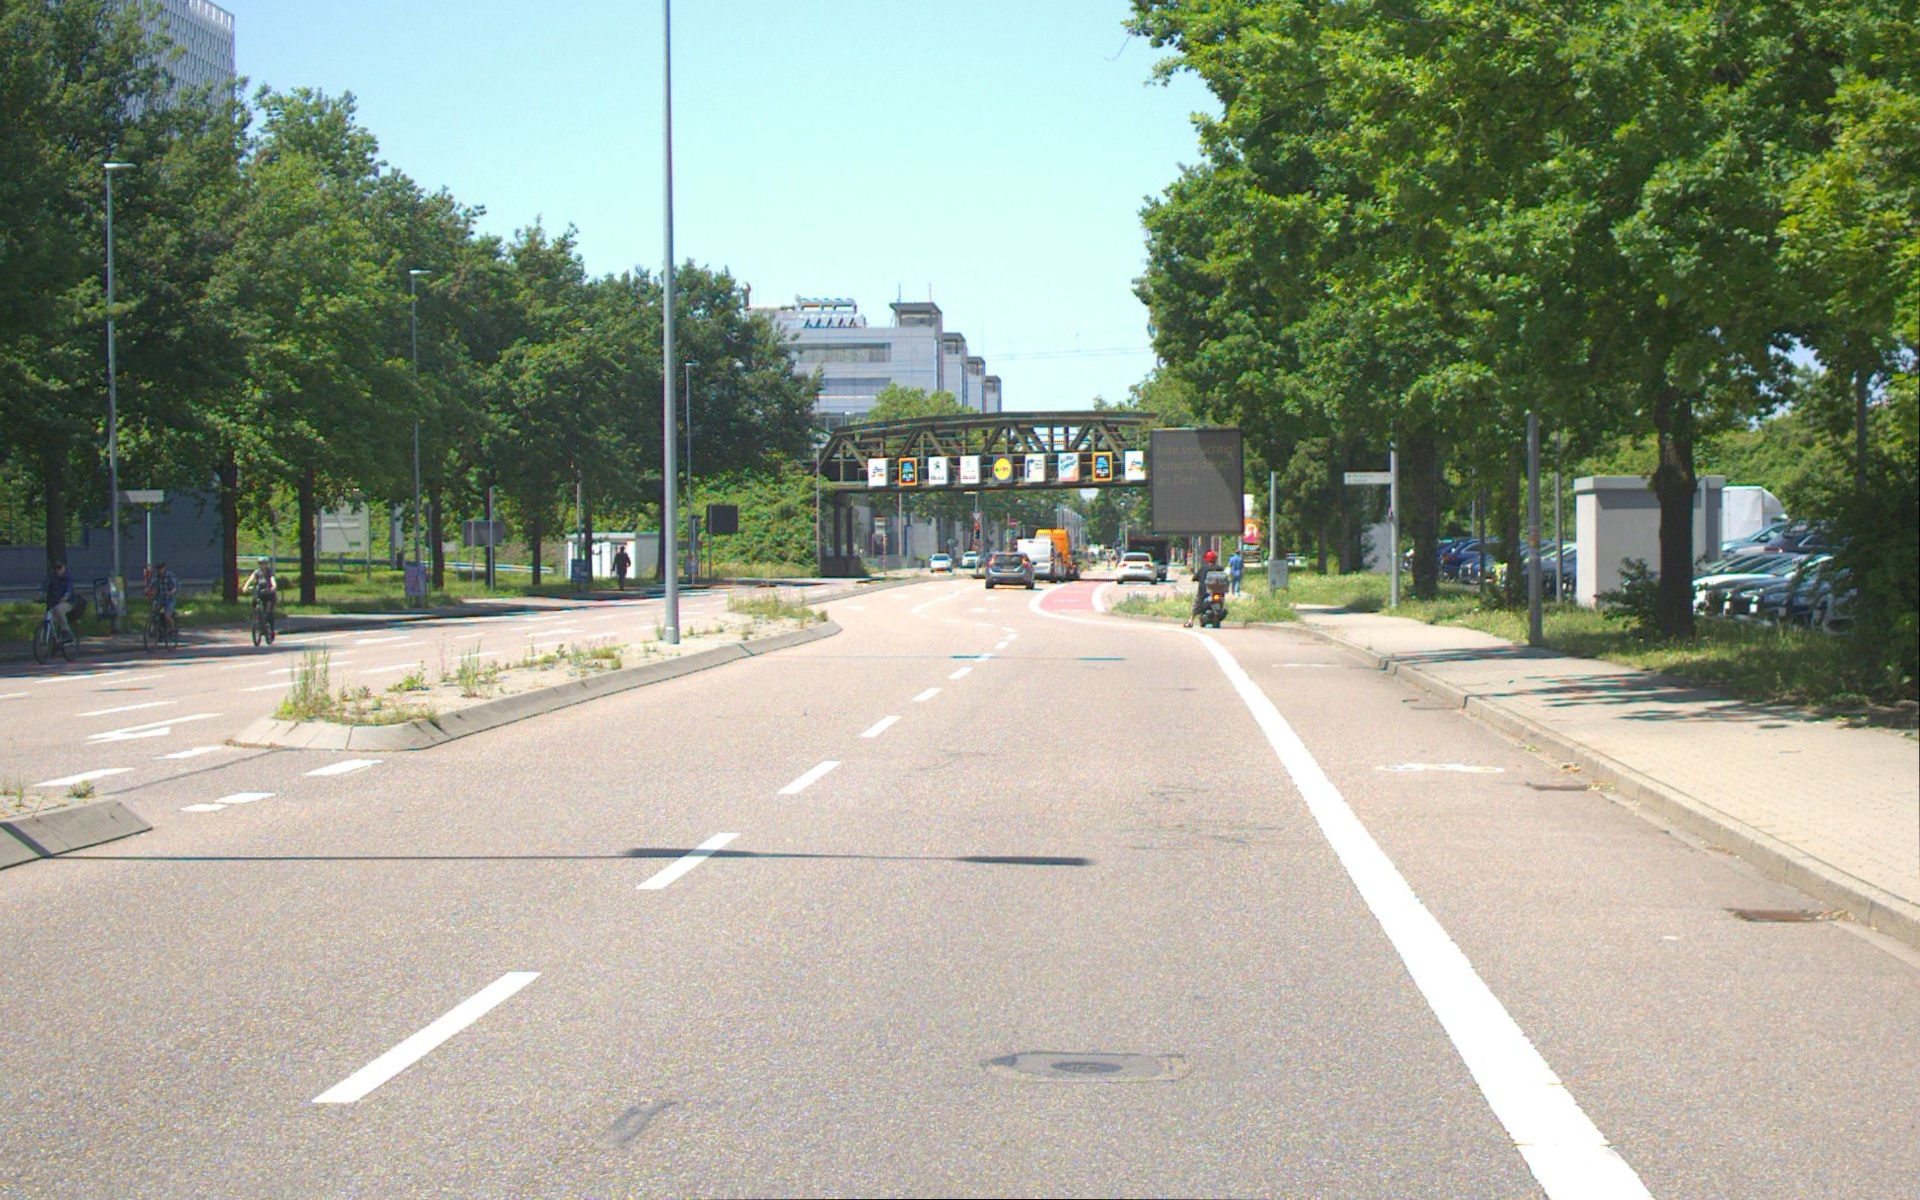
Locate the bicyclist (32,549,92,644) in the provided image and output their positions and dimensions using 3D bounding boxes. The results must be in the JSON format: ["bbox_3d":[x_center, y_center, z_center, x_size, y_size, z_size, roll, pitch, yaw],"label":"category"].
[{"bbox_3d":[-16.082,-0.068,61.572,0.745,1.680,0.952,0,1,6],"label":"bicyclist"}]

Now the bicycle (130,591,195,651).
[{"bbox_3d":[-15.541,0.407,67.037,0.637,1.130,1.970,0,1,5],"label":"bicycle"}]

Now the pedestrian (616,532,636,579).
[{"bbox_3d":[-13.438,-1.786,138.321,0.744,1.877,0.577,0,1,4],"label":"pedestrian"}]

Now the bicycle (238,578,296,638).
[{"bbox_3d":[-14.092,0.149,69.938,0.629,1.155,2.117,-2,1,2],"label":"bicycle"}]

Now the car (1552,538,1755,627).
[{"bbox_3d":[15.335,-0.397,76.140,3.987,1.612,1.798,5,1,-1],"label":"car"}]

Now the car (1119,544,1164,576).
[{"bbox_3d":[8.215,-1.813,155.815,1.924,1.415,4.000,1,1,2],"label":"car"}]

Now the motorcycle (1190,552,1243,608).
[{"bbox_3d":[5.244,-0.419,70.419,0.716,1.101,1.831,1,1,-7],"label":"motorcycle"}]

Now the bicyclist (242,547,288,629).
[{"bbox_3d":[-14.113,-0.253,69.819,0.634,1.623,1.044,-2,1,2],"label":"bicyclist"}]

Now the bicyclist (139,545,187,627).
[{"bbox_3d":[-15.540,-0.279,67.019,0.637,1.577,0.884,0,1,6],"label":"bicyclist"}]

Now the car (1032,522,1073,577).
[{"bbox_3d":[4.908,-2.654,181.752,2.073,2.845,6.765,0,1,2],"label":"car"}]

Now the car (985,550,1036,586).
[{"bbox_3d":[2.008,-1.265,134.904,1.900,1.371,4.231,0,1,2],"label":"car"}]

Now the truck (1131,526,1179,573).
[{"bbox_3d":[10.340,-2.694,182.690,2.459,2.402,7.133,2,1,3],"label":"truck"}]

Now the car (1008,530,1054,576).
[{"bbox_3d":[3.254,-2.145,156.313,1.993,2.007,4.000,1,1,2],"label":"car"}]

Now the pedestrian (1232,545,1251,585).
[{"bbox_3d":[9.517,-1.189,116.302,0.623,1.370,0.564,0,1,2],"label":"pedestrian"}]

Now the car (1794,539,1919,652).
[{"bbox_3d":[13.593,0.022,46.328,4.221,1.402,1.917,4,1,3],"label":"car"}]

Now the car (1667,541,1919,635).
[{"bbox_3d":[14.474,-0.216,59.156,4.221,1.337,1.917,4,1,3],"label":"car"}]

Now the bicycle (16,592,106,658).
[{"bbox_3d":[-16.085,0.444,61.563,0.739,1.121,2.434,0,1,6],"label":"bicycle"}]

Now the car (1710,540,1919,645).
[{"bbox_3d":[14.040,-0.078,53.877,4.130,1.376,1.779,5,1,3],"label":"car"}]

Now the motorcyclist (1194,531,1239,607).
[{"bbox_3d":[5.252,-0.642,70.399,0.719,1.524,0.871,1,1,-7],"label":"motorcyclist"}]
